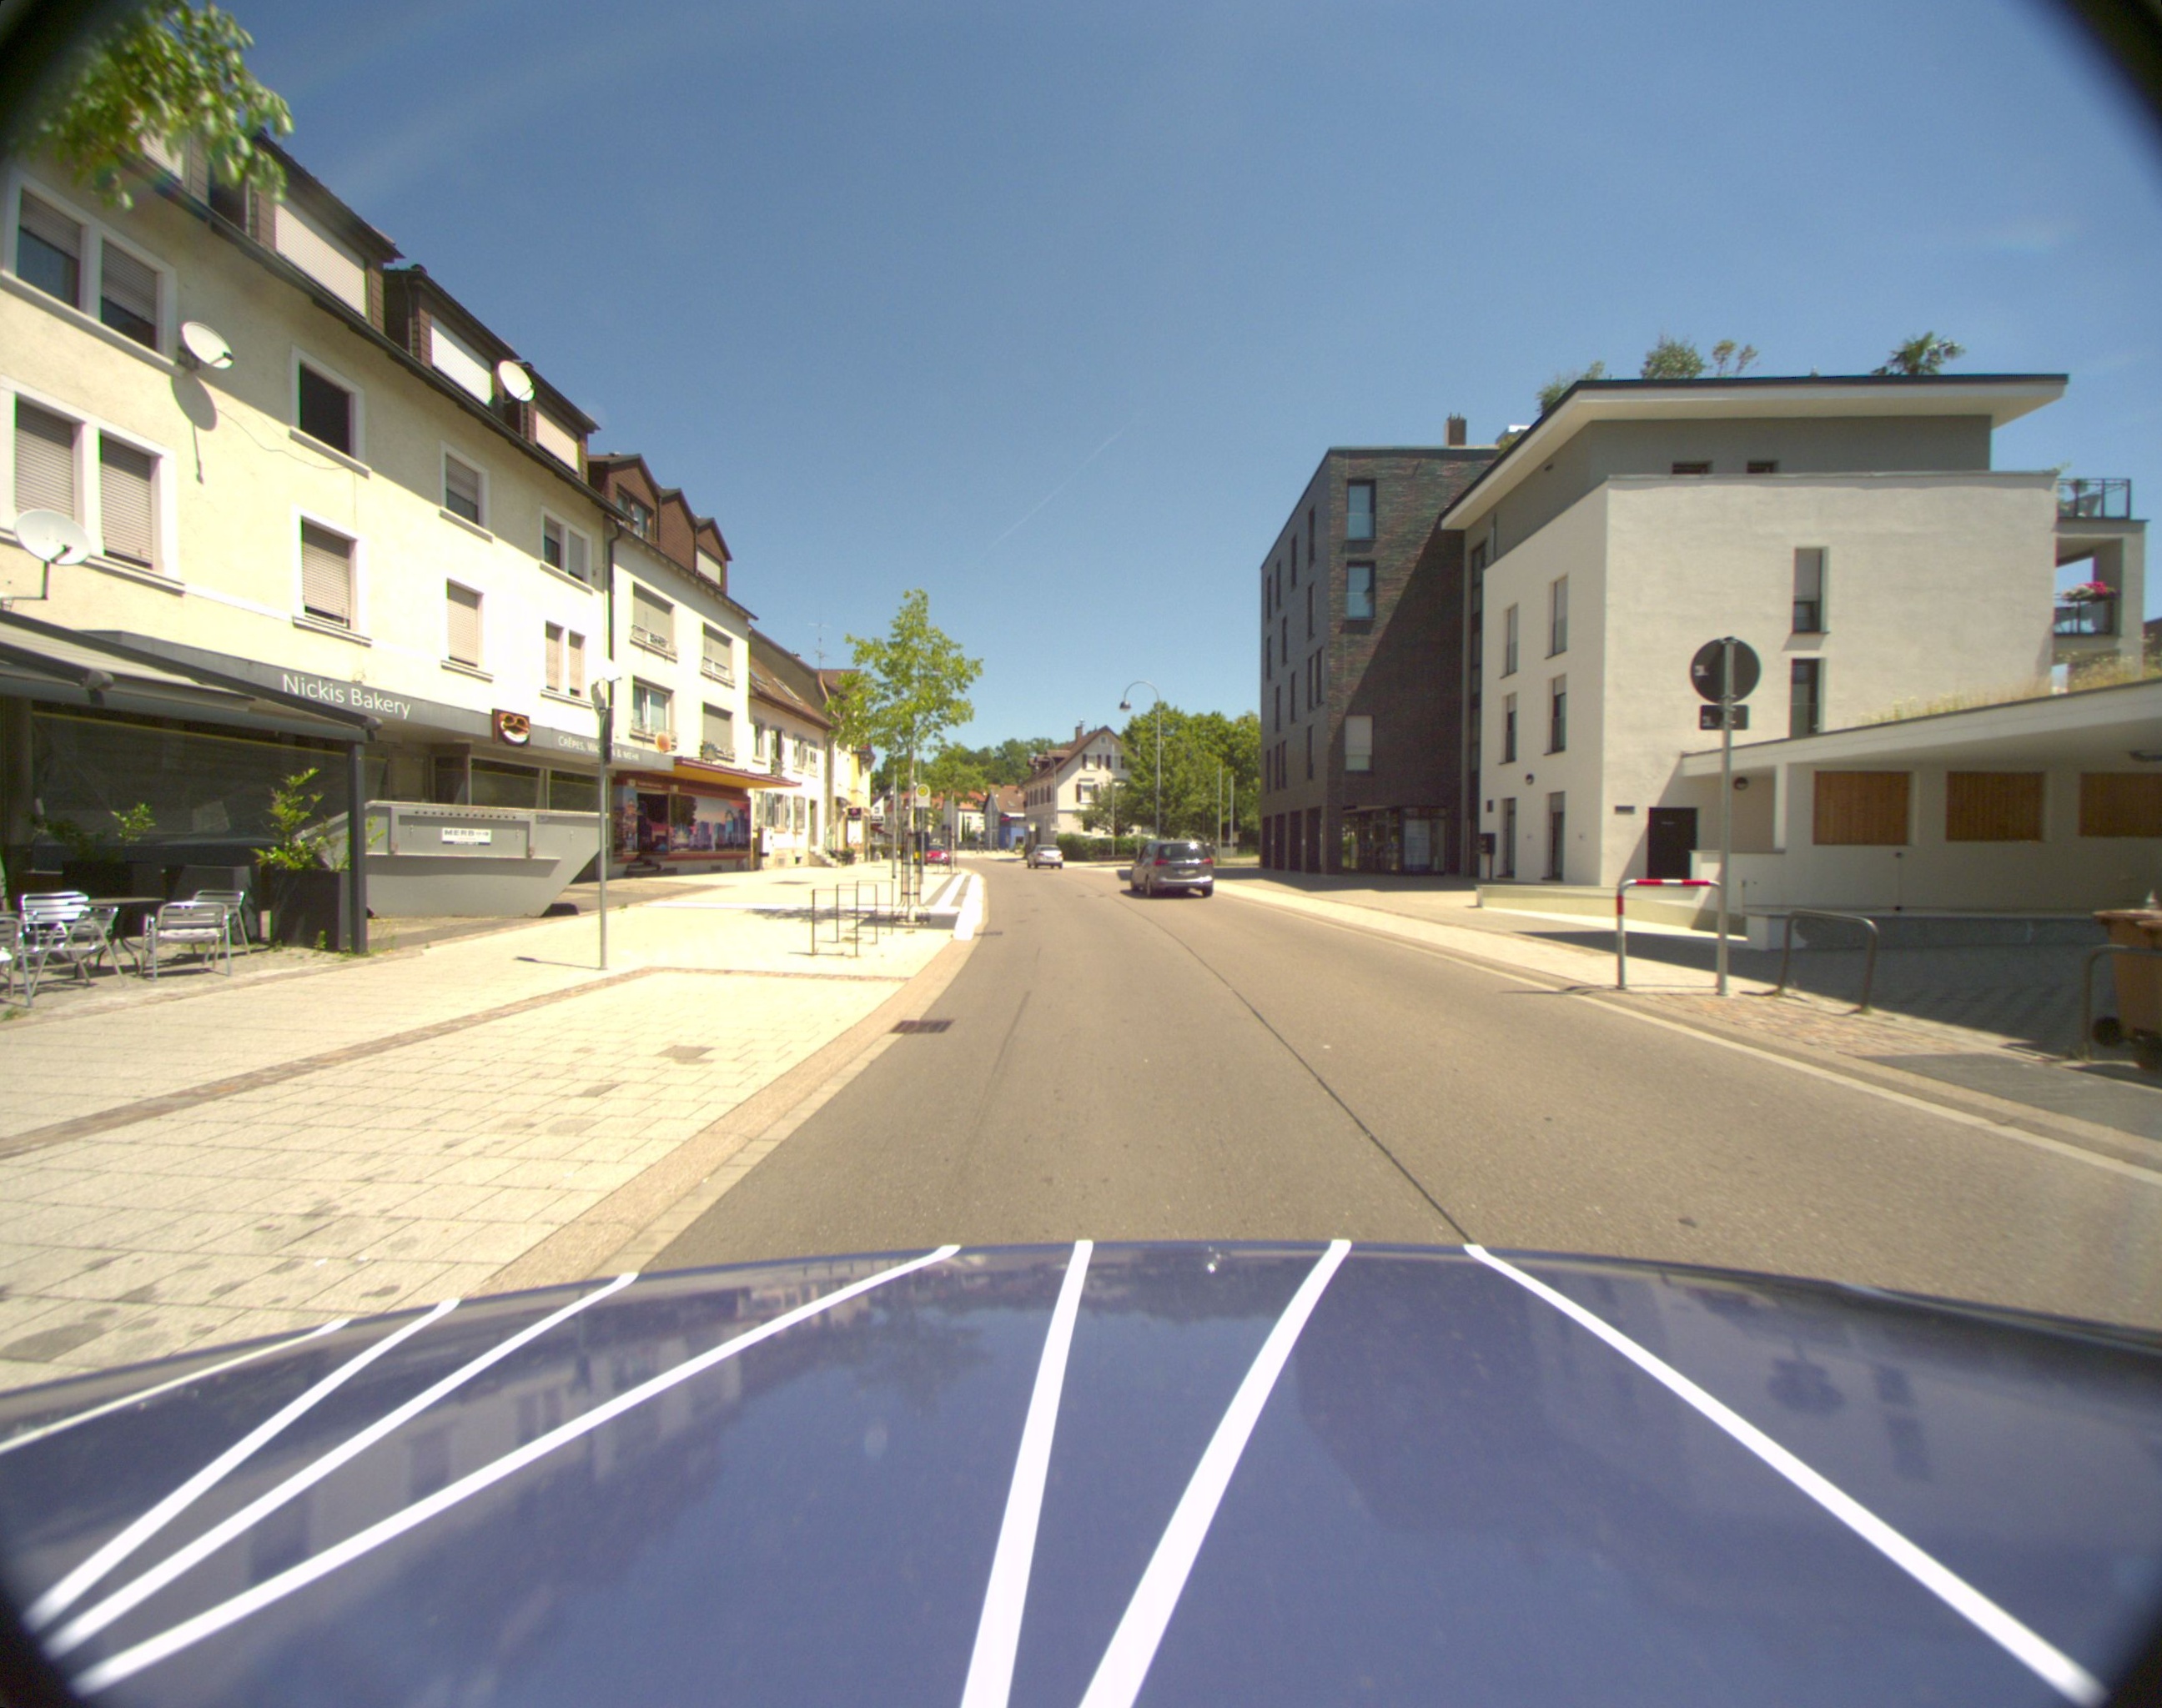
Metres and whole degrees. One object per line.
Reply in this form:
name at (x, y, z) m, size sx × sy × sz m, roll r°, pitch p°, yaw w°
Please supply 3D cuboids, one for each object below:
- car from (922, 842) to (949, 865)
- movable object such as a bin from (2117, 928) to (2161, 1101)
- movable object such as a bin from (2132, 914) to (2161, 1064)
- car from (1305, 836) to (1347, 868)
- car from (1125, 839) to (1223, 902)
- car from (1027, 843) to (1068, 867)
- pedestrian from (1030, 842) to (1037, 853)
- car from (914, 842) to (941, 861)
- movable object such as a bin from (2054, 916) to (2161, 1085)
car at (-9.811, -0.070, 51.067) m, size 1.685 × 1.505 × 3.382 m, roll 0°, pitch 1°, yaw -12°
movable object such as a bin at (6.559, 0.948, 4.328) m, size 0.484 × 0.992 × 0.588 m, roll 0°, pitch 1°, yaw 0°
movable object such as a bin at (7.487, 0.911, 4.935) m, size 0.484 × 0.992 × 0.588 m, roll 0°, pitch 1°, yaw 0°
car at (12.816, -0.142, 39.973) m, size 1.696 × 1.478 × 4.083 m, roll 3°, pitch 2°, yaw 13°
car at (2.642, 0.410, 22.644) m, size 1.948 × 1.649 × 4.232 m, roll -1°, pitch 1°, yaw -6°
car at (-2.072, 0.018, 46.128) m, size 1.673 × 1.388 × 3.841 m, roll 0°, pitch 1°, yaw -16°
pedestrian at (-4.679, -0.656, 74.511) m, size 0.599 × 1.053 × 0.566 m, roll -1°, pitch 2°, yaw -19°
car at (-13.098, -0.259, 64.556) m, size 1.737 × 1.464 × 4.316 m, roll 2°, pitch 1°, yaw -18°
movable object such as a bin at (6.911, 0.929, 4.905) m, size 0.484 × 0.992 × 0.587 m, roll 0°, pitch 1°, yaw -3°
